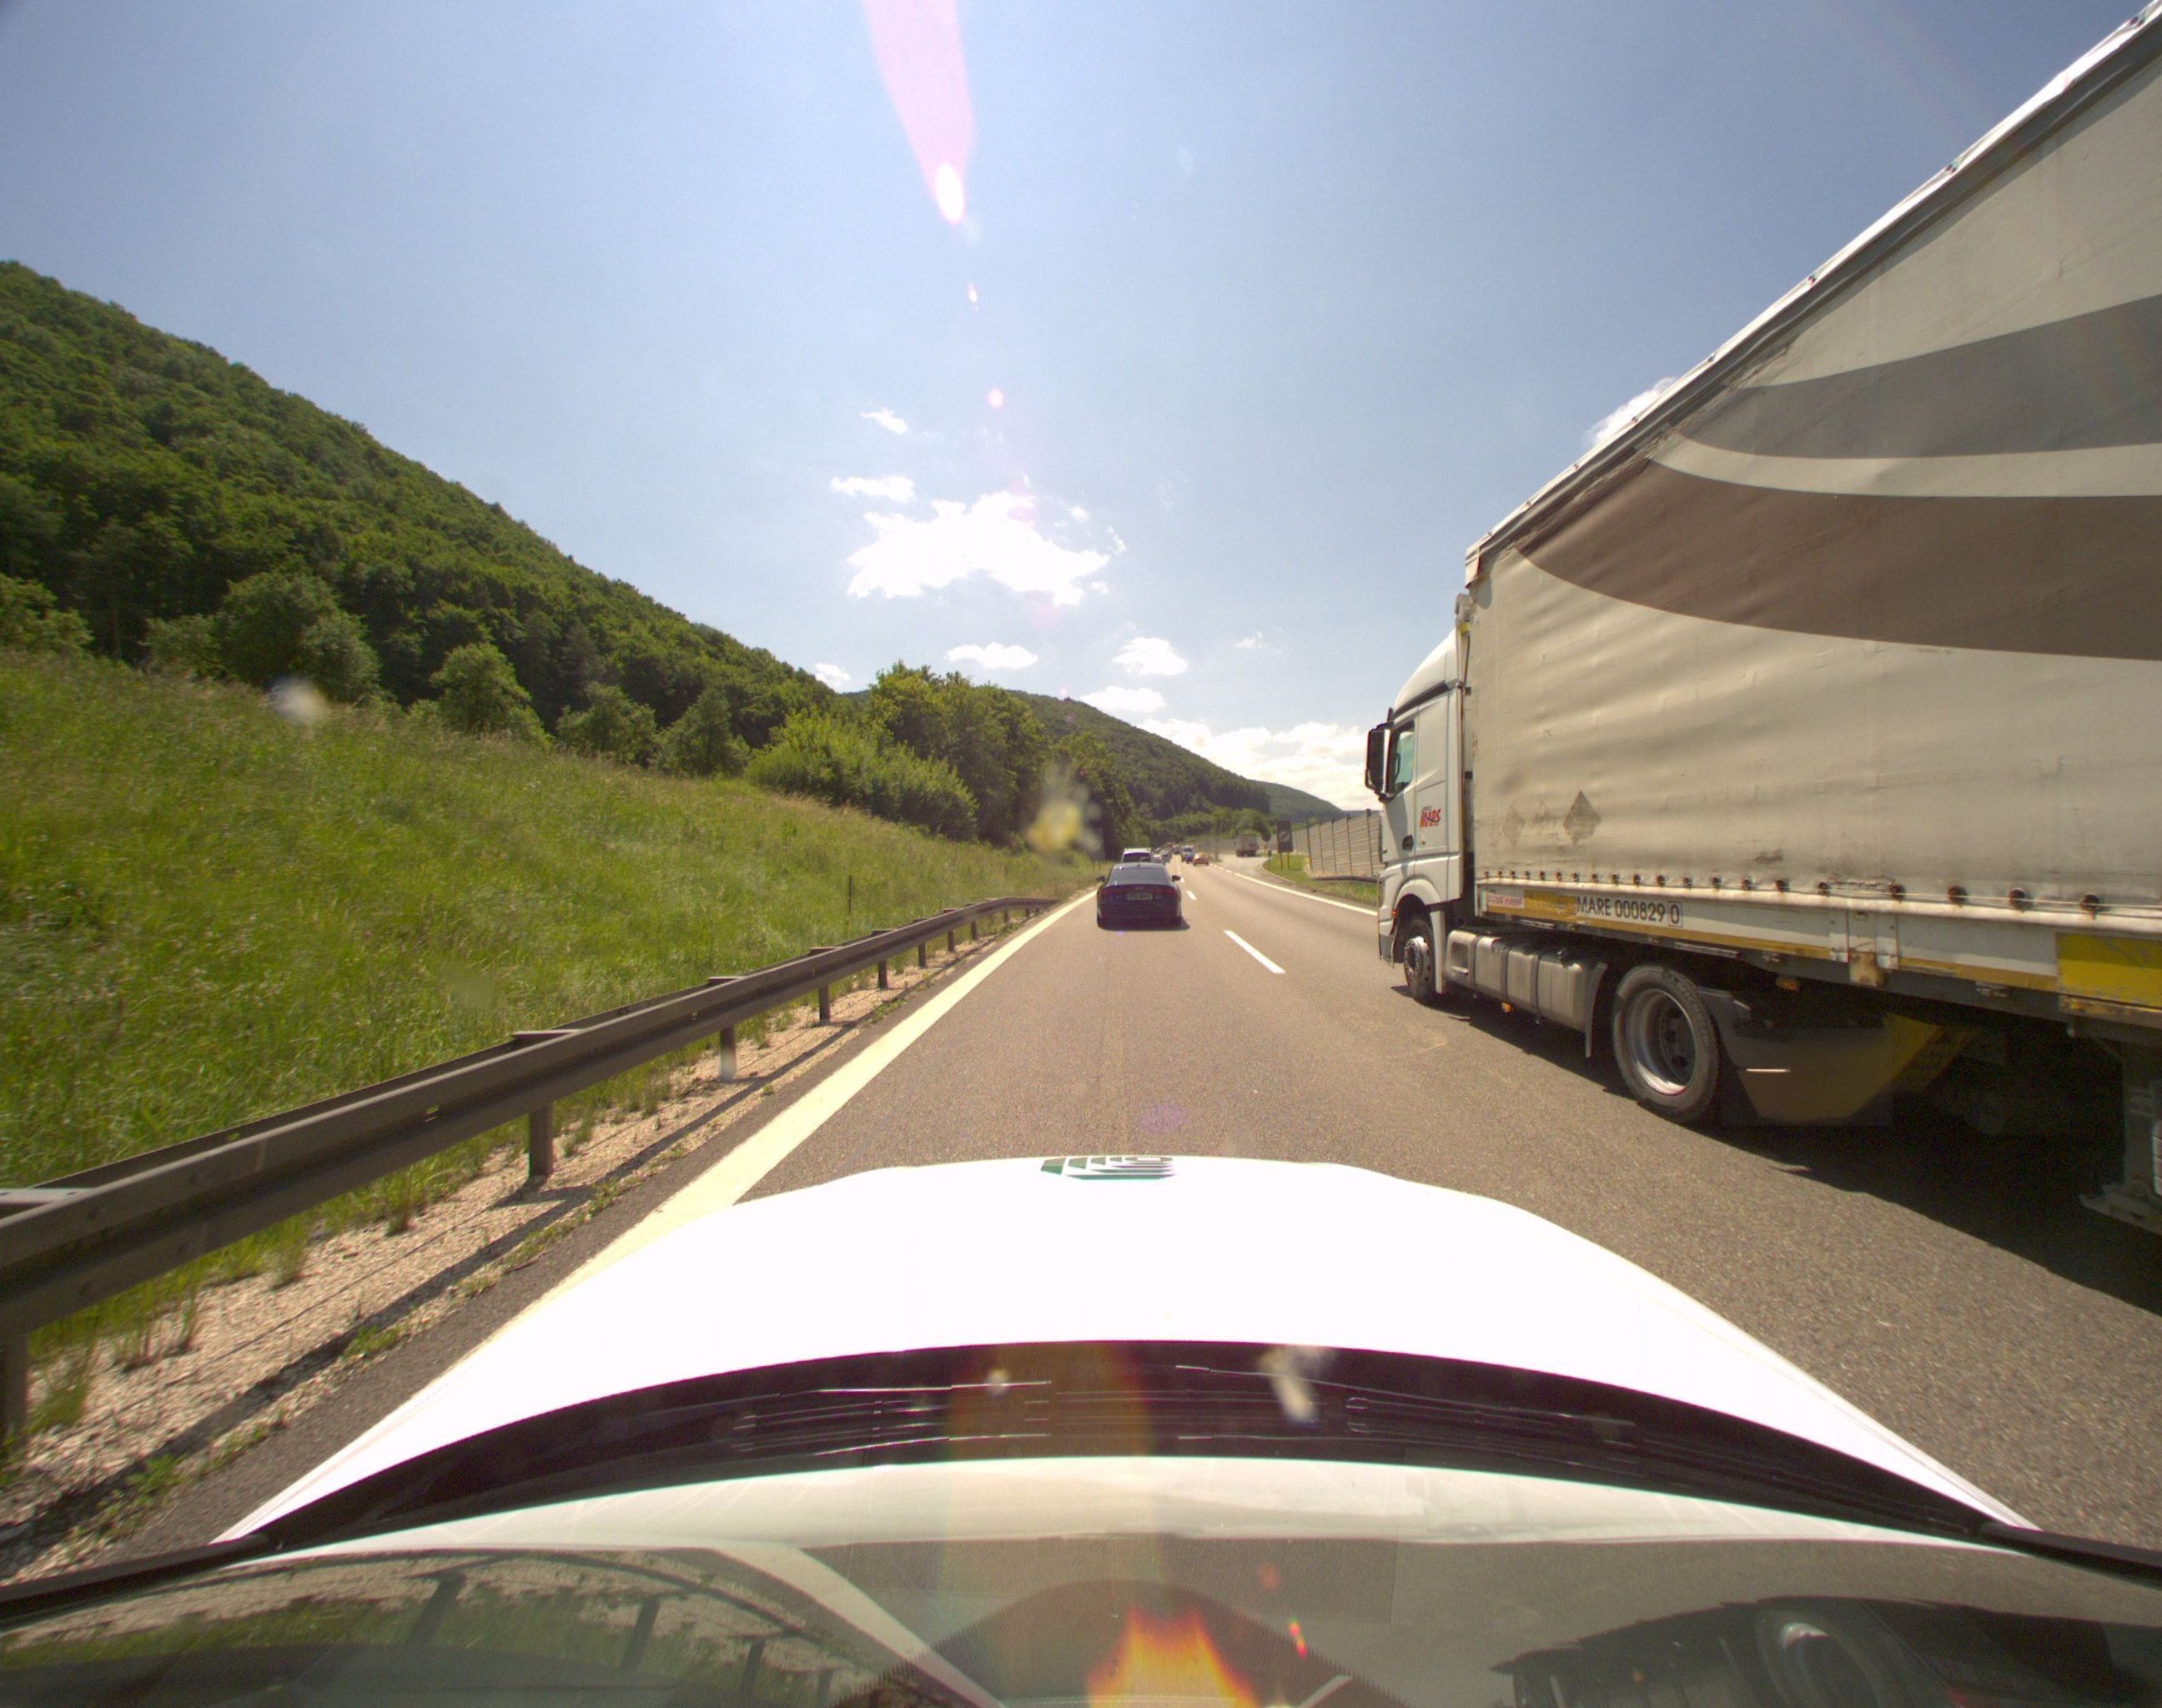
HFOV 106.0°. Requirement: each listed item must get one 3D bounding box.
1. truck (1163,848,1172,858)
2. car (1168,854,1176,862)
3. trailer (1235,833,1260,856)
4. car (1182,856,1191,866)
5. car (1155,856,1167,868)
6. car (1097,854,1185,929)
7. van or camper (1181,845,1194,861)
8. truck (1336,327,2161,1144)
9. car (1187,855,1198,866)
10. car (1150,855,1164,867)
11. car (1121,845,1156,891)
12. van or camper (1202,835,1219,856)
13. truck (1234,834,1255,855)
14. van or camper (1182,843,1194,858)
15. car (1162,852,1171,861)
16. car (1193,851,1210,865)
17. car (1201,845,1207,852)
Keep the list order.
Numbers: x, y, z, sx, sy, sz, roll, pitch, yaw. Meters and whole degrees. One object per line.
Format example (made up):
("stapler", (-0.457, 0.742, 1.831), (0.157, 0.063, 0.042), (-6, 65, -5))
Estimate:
("truck", (23.496, -0.300, 220.390), (2.053, 2.605, 5.627), (0, 0, 8))
("car", (19.339, 0.827, 173.444), (1.512, 1.553, 3.522), (0, 0, 8))
("trailer", (30.145, -1.712, 147.817), (3.394, 3.900, 11.171), (-2, 0, 6))
("car", (17.448, 1.155, 134.543), (1.522, 1.525, 3.603), (-1, -1, 7))
("car", (11.054, 1.076, 112.607), (1.513, 1.553, 3.521), (0, 0, 7))
("car", (1.345, 0.797, 18.906), (1.804, 1.514, 3.517), (-2, 0, 3))
("van or camper", (21.199, -0.128, 162.242), (2.416, 3.155, 5.213), (-1, -1, 7))
("truck", (4.478, -0.587, 6.965), (2.710, 4.068, 5.753), (-1, -1, 0))
("car", (15.647, 0.877, 114.187), (1.522, 1.525, 3.603), (-1, -1, 7))
("car", (8.256, 0.764, 88.741), (1.514, 1.294, 3.518), (0, 0, 4))
("car", (2.672, 0.616, 37.313), (1.514, 1.968, 3.519), (0, 0, 5))
("van or camper", (25.126, -1.649, 157.783), (2.782, 3.841, 6.175), (0, -1, 5))
("truck", (30.863, -1.745, 154.011), (3.394, 3.900, 5.397), (-2, 0, 6))
("van or camper", (27.630, -0.898, 209.719), (2.782, 3.907, 6.175), (0, -1, 5))
("car", (14.401, 0.397, 136.996), (1.512, 1.553, 3.522), (0, 0, 8))
("car", (14.386, 0.487, 97.566), (1.869, 1.499, 4.008), (-2, 0, 7))
("car", (35.770, -1.623, 236.754), (1.568, 2.013, 3.434), (-2, 0, 7))
